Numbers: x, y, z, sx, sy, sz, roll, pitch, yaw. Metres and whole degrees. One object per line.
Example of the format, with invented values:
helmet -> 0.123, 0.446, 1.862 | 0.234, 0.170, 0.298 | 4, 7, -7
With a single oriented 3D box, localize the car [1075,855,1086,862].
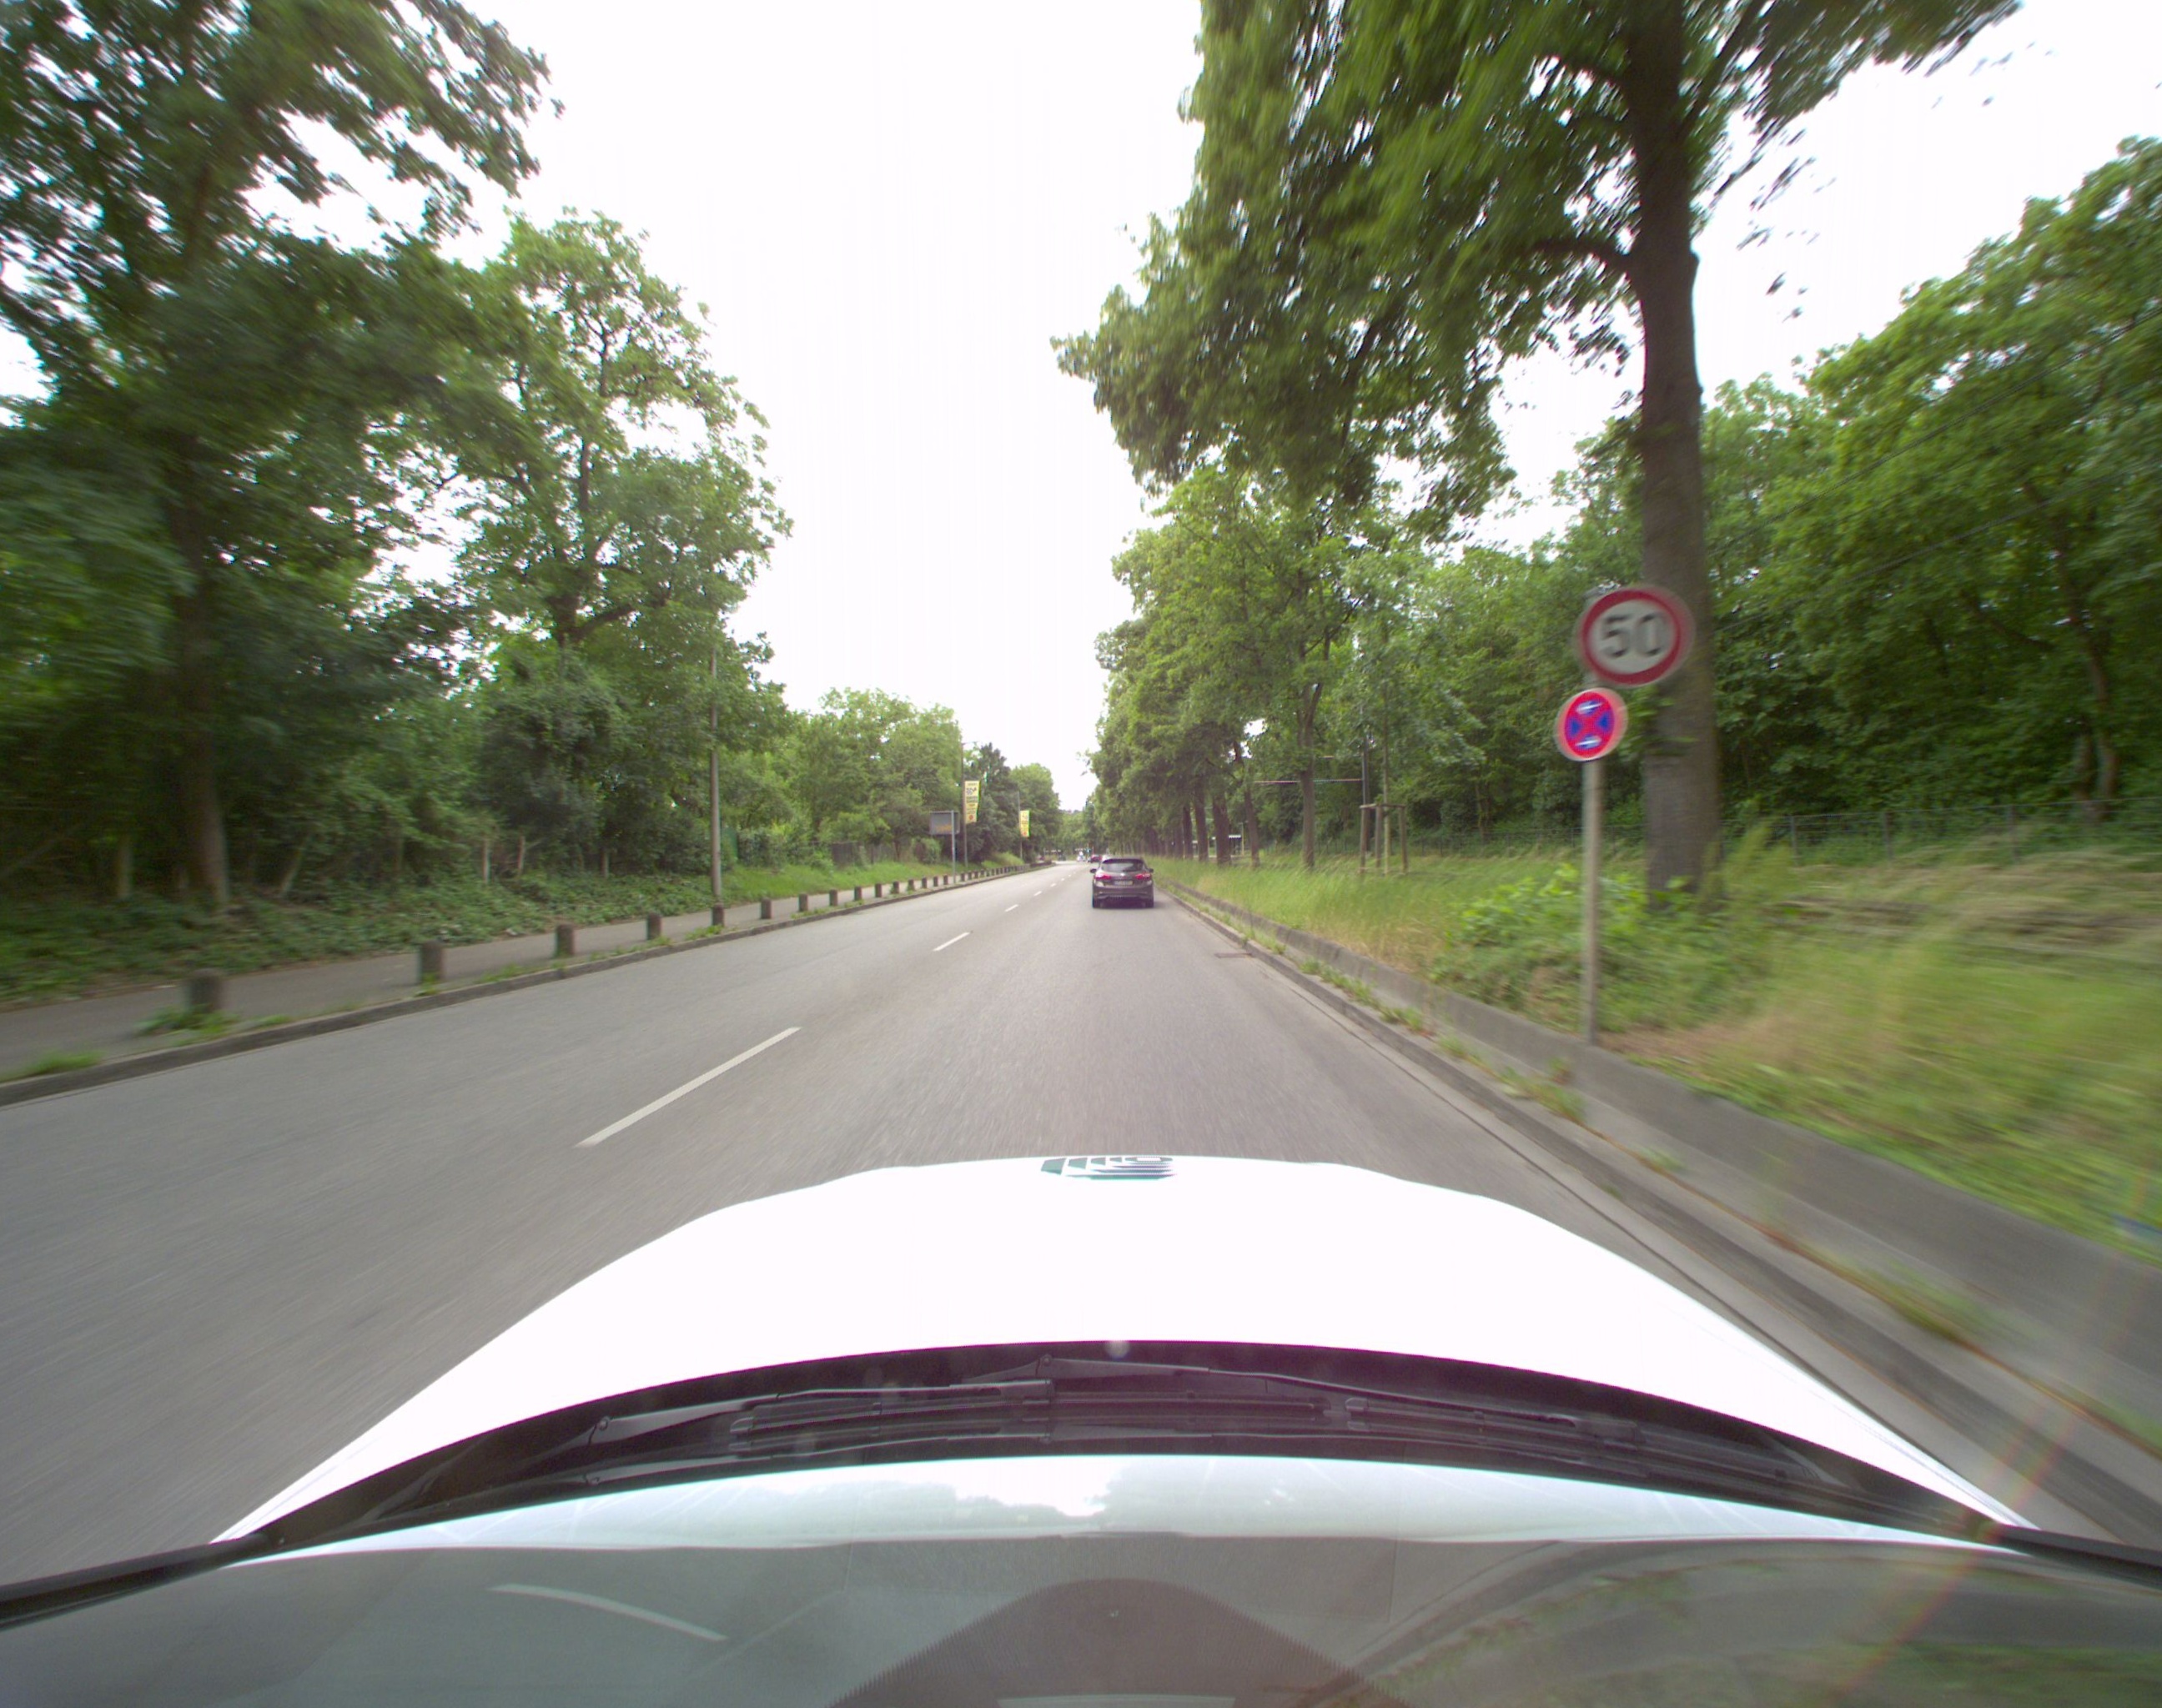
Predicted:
car -> -0.160, 0.955, 175.652 | 1.563, 1.441, 3.536 | 0, 0, -13

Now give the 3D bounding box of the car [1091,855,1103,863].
car -> 2.671, 0.815, 137.462 | 1.559, 1.441, 3.544 | 0, 0, -6

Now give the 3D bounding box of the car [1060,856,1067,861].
car -> -4.557, 1.198, 211.097 | 1.560, 1.441, 3.541 | 0, 0, -8

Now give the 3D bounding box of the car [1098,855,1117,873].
car -> 2.362, 0.891, 73.774 | 1.724, 1.537, 3.552 | 0, 0, 1

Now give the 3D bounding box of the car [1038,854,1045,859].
car -> -11.947, 0.742, 244.381 | 1.562, 1.441, 3.538 | 0, 0, -11

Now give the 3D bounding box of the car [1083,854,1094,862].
car -> 1.375, 0.692, 153.634 | 1.561, 1.441, 3.540 | 0, 0, -9

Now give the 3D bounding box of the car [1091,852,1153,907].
car -> 1.185, 0.715, 24.509 | 1.724, 1.537, 3.552 | 0, 0, 1
